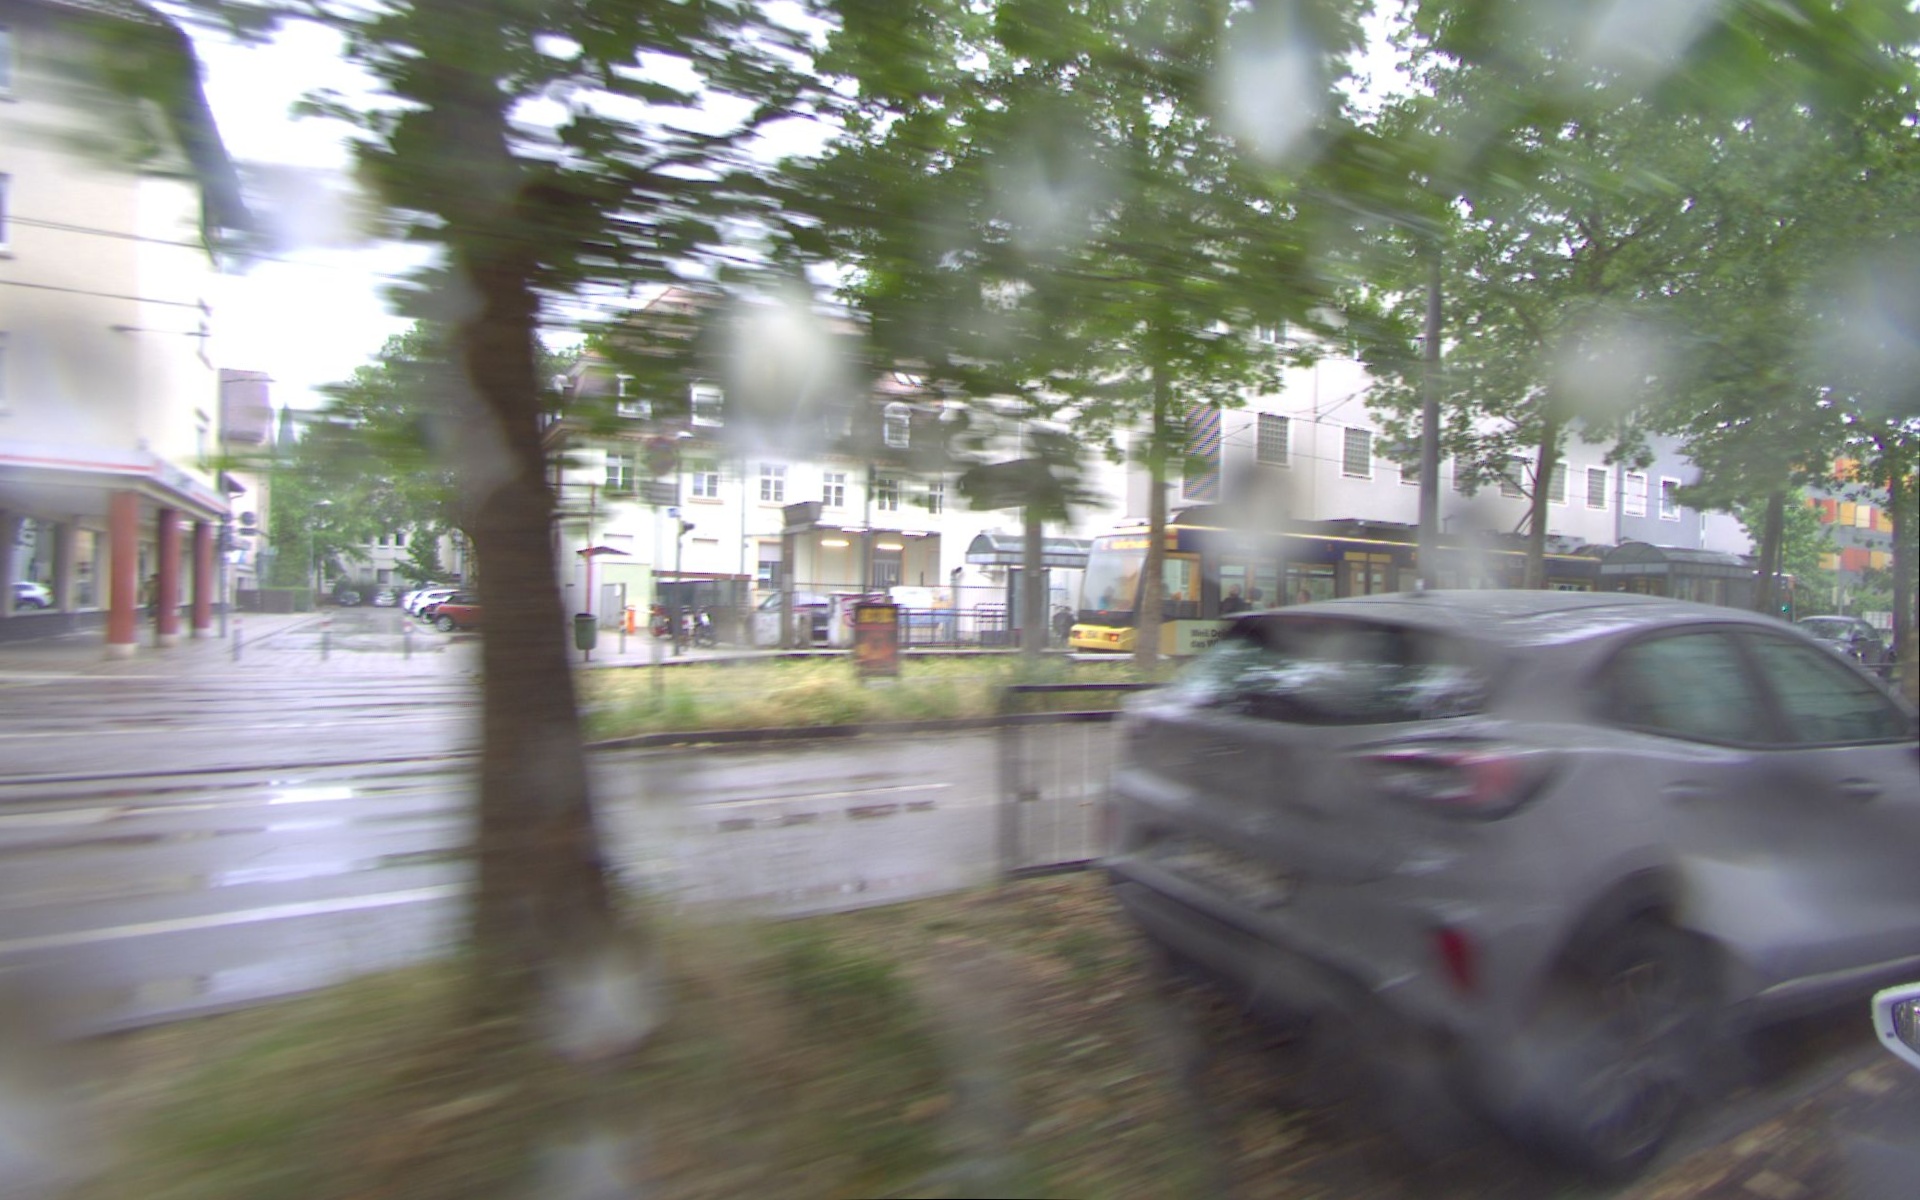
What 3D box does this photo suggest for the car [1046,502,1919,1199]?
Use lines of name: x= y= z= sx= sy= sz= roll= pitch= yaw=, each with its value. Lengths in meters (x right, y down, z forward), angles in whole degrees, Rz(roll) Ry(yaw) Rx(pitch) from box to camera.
car: x=2.604 y=0.672 z=3.943 sx=4.301 sy=1.657 sz=1.691 roll=2 pitch=0 yaw=-29

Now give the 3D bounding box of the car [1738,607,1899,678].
car: x=21.887 y=1.042 z=25.599 sx=3.955 sy=1.634 sz=1.983 roll=1 pitch=0 yaw=-31

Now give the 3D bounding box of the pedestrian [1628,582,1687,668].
pedestrian: x=16.967 y=0.601 z=24.453 sx=0.810 sy=2.040 sz=0.866 roll=1 pitch=1 yaw=-27

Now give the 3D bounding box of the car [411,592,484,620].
car: x=-25.685 y=0.298 z=50.413 sx=2.970 sy=1.242 sz=1.343 roll=2 pitch=2 yaw=-10

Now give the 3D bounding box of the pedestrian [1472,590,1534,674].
pedestrian: x=11.613 y=0.672 z=21.505 sx=0.862 sy=1.726 sz=0.813 roll=1 pitch=0 yaw=-31

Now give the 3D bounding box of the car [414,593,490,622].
car: x=-24.421 y=0.340 z=48.341 sx=2.970 sy=1.242 sz=1.343 roll=2 pitch=2 yaw=-10

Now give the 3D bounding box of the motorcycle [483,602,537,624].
motorcycle: x=-15.912 y=0.448 z=35.554 sx=1.642 sy=0.719 sz=0.521 roll=2 pitch=-1 yaw=-2

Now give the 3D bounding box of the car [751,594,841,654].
car: x=-4.769 y=0.639 z=28.804 sx=1.589 sy=1.562 sz=3.664 roll=1 pitch=1 yaw=-25

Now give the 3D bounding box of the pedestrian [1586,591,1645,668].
pedestrian: x=15.121 y=0.671 z=23.160 sx=0.862 sy=1.726 sz=0.813 roll=1 pitch=1 yaw=-31

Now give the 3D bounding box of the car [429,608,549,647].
car: x=-17.445 y=1.024 z=37.329 sx=3.778 sy=1.242 sz=1.345 roll=2 pitch=2 yaw=-2

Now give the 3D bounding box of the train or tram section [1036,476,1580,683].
train or tram section: x=8.560 y=-0.071 z=22.868 sx=14.411 sy=3.605 sz=3.090 roll=3 pitch=-1 yaw=-31

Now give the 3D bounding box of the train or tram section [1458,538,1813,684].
train or tram section: x=20.872 y=0.587 z=30.385 sx=14.511 sy=3.605 sz=3.090 roll=3 pitch=-1 yaw=-31

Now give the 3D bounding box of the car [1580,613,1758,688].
car: x=15.153 y=1.035 z=21.443 sx=3.713 sy=1.361 sz=1.729 roll=1 pitch=3 yaw=-31
